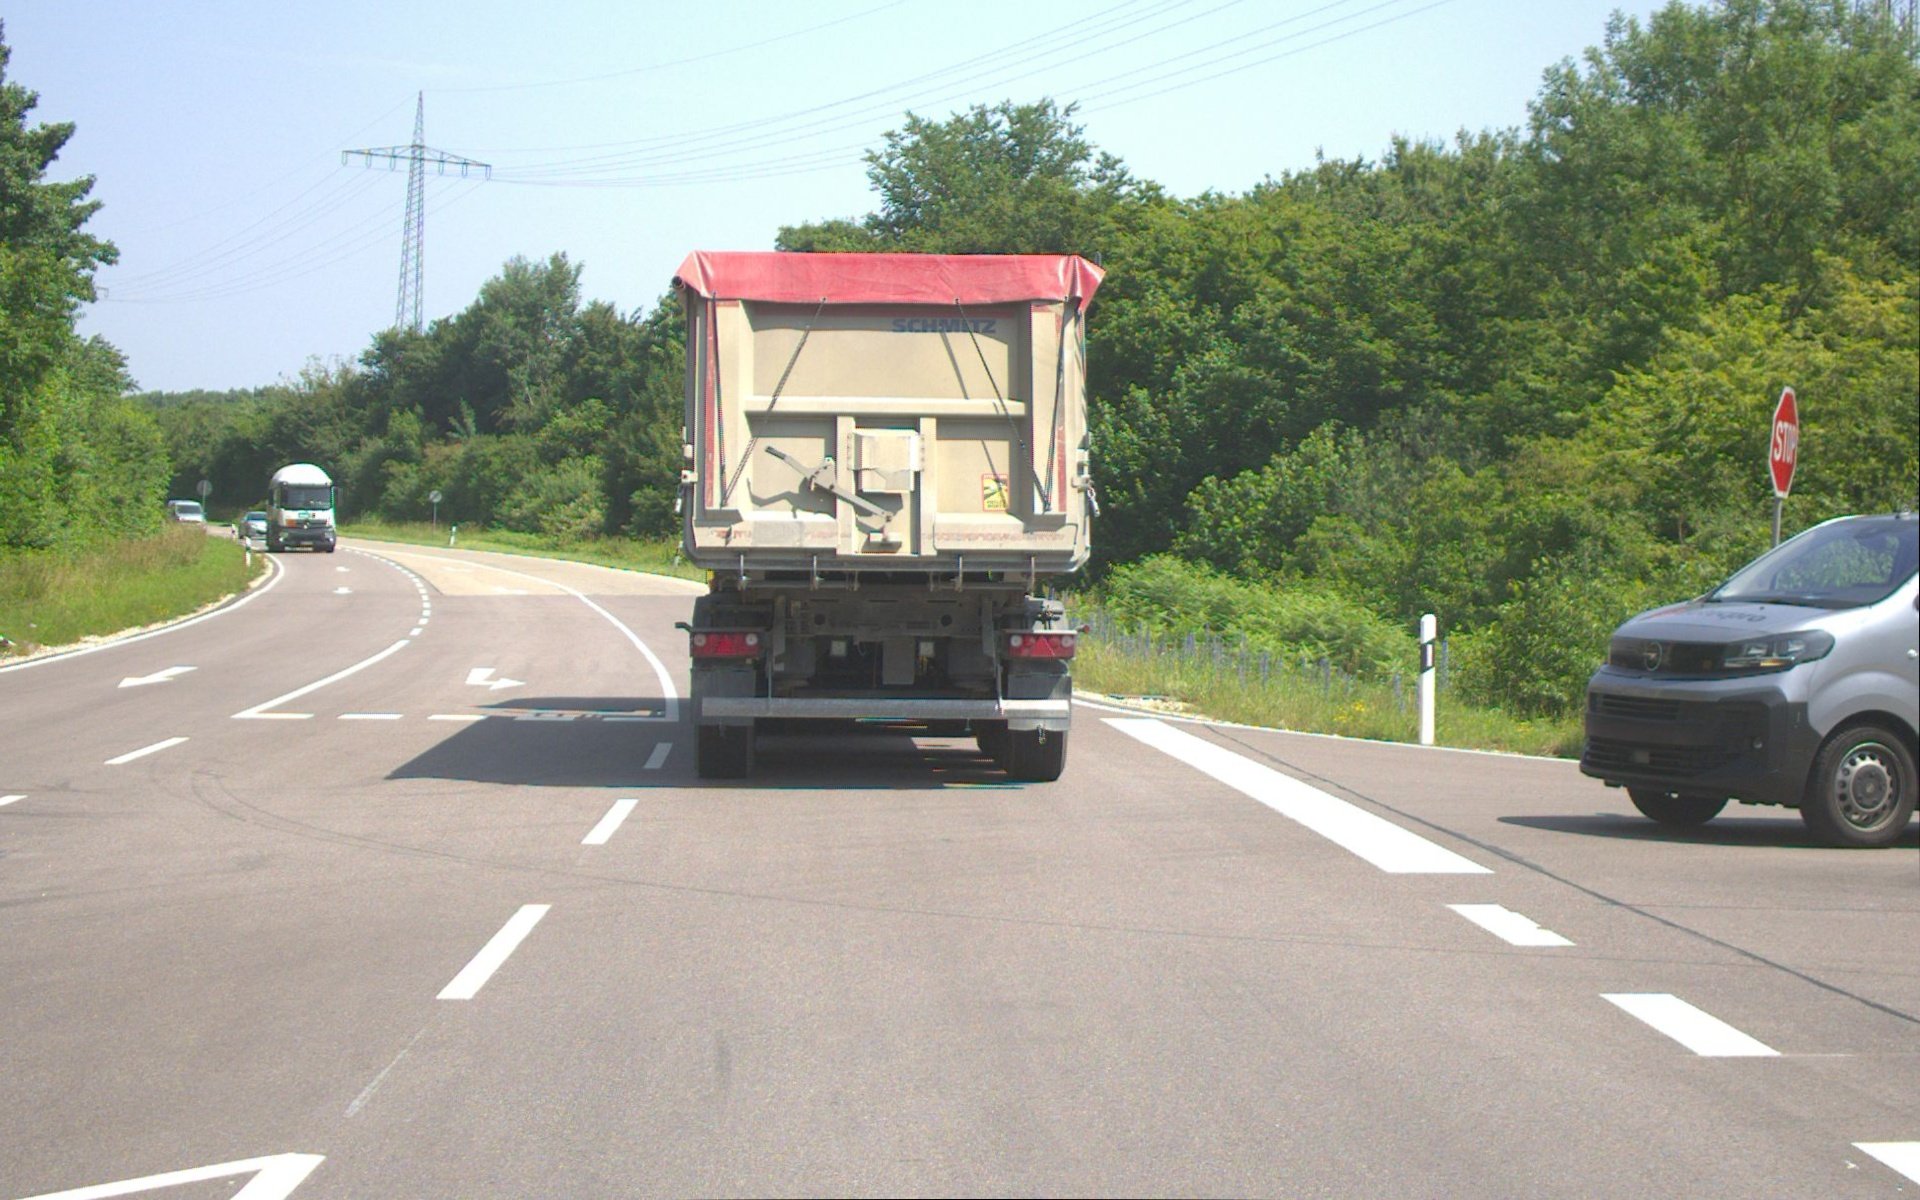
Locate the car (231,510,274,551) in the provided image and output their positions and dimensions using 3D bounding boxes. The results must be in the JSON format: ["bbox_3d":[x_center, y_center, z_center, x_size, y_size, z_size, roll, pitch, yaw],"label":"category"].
[{"bbox_3d":[-31.894,-3.113,155.033,1.842,1.773,4.895,0,0,-11],"label":"car"}]

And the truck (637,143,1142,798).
[{"bbox_3d":[-0.978,-0.907,26.884,2.893,3.949,11.935,1,1,-6],"label":"truck"}]

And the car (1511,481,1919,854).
[{"bbox_3d":[5.967,0.446,19.648,5.211,1.900,2.014,3,-1,-23],"label":"car"}]

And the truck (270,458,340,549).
[{"bbox_3d":[-27.349,-4.015,143.733,2.626,3.658,8.799,0,1,-9],"label":"truck"}]
